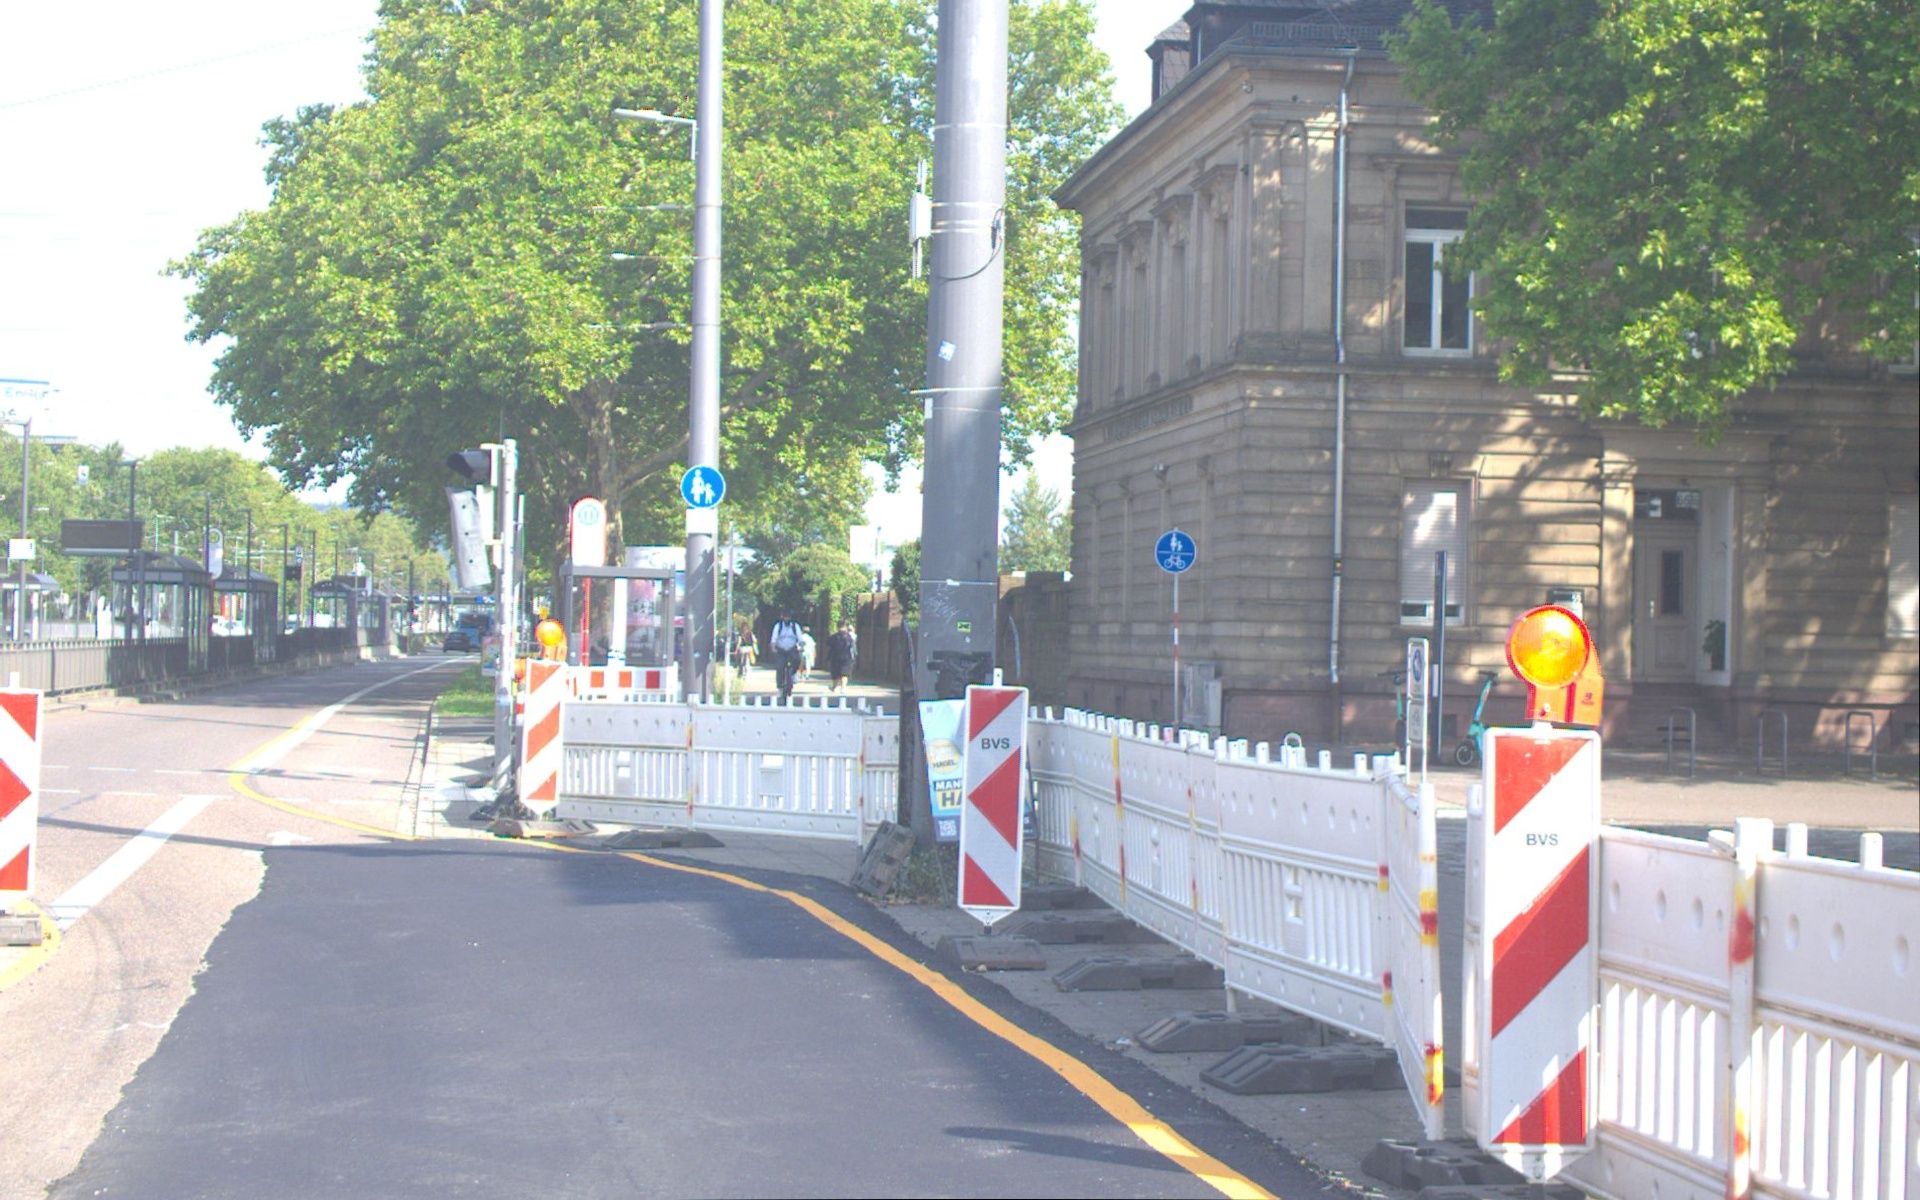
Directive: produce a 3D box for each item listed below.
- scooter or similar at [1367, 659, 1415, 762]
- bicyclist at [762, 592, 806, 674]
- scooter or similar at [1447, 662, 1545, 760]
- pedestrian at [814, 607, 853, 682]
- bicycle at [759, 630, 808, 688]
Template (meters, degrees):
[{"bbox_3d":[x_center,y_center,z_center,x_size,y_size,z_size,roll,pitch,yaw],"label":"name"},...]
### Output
[{"bbox_3d":[5.443,1.385,43.382,0.421,1.206,1.254,1,2,15],"label":"scooter or similar"},{"bbox_3d":[-3.391,0.630,66.050,0.717,1.538,0.956,1,1,-9],"label":"bicyclist"},{"bbox_3d":[6.867,1.415,44.040,1.251,1.206,0.422,-1,2,-32],"label":"scooter or similar"},{"bbox_3d":[-2.892,1.010,78.540,0.819,1.680,1.012,0,0,-7],"label":"pedestrian"},{"bbox_3d":[-3.400,1.121,66.009,0.717,1.038,1.903,1,1,-9],"label":"bicycle"}]
